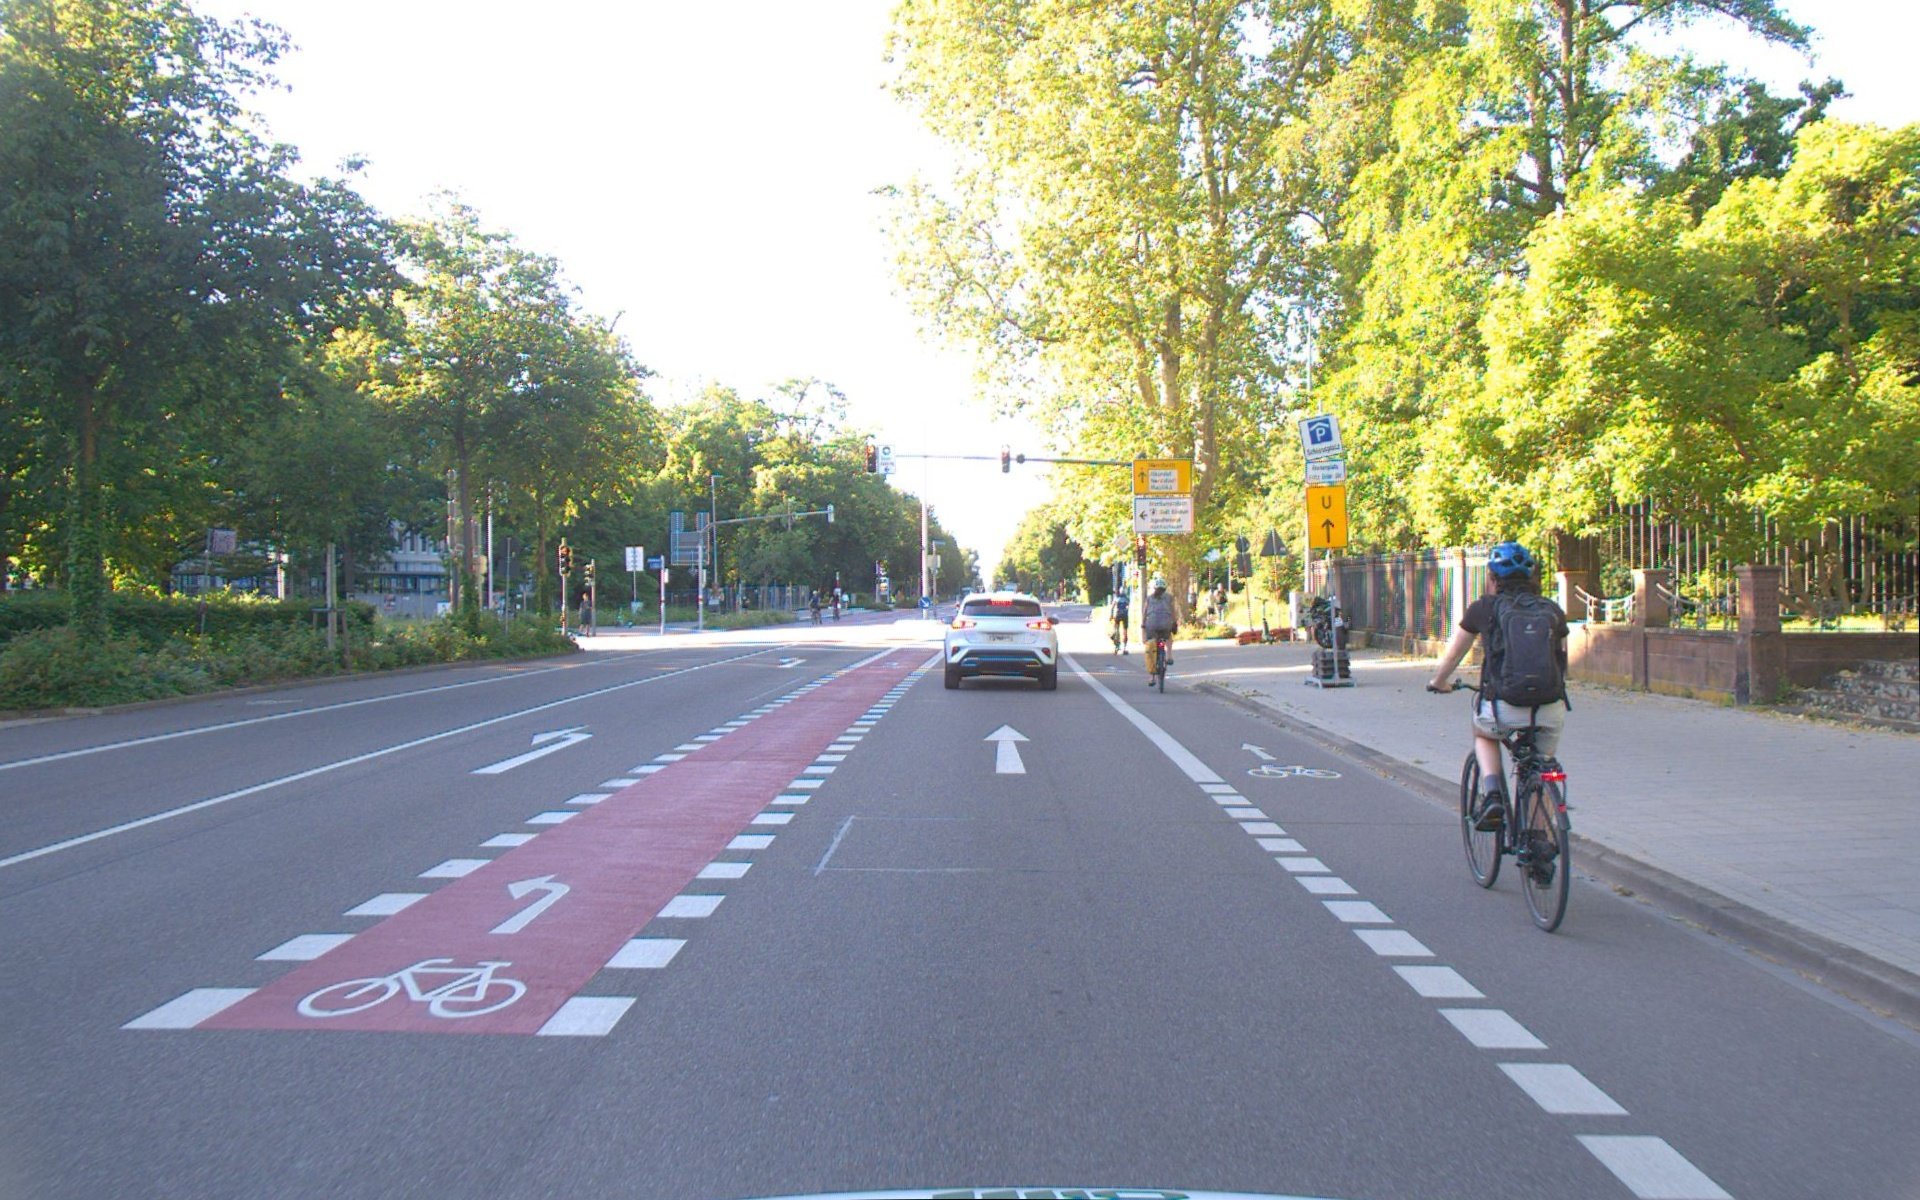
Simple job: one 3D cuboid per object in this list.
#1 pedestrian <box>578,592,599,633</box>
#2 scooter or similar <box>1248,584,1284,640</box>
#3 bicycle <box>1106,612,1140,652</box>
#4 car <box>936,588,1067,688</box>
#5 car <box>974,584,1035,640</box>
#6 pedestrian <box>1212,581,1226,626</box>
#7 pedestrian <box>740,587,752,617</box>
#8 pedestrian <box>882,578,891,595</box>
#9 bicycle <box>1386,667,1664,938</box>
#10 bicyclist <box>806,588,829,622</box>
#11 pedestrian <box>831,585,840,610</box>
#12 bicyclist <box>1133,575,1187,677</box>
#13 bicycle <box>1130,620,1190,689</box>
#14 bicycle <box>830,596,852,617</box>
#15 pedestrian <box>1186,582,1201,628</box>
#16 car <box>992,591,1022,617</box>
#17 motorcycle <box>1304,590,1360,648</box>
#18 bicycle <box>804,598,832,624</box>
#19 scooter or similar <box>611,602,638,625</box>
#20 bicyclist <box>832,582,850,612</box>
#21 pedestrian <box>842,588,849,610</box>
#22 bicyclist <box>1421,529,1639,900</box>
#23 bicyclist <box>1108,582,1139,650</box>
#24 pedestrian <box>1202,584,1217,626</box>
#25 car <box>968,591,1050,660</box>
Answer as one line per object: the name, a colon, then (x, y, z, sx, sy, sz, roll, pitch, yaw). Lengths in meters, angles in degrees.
pedestrian: (-16.940, 0.564, 75.456, 0.673, 1.823, 0.769, -4, 1, 1)
scooter or similar: (7.933, 0.309, 42.904, 0.554, 1.407, 1.856, -2, 0, 0)
bicycle: (4.307, 0.830, 43.809, 0.737, 1.044, 1.869, 0, 0, 1)
car: (0.660, 0.567, 27.271, 1.952, 1.478, 4.000, -2, 0, 1)
car: (1.376, 0.349, 51.956, 1.813, 1.619, 4.000, -2, 0, 1)
pedestrian: (10.842, 0.136, 69.214, 0.472, 1.823, 0.432, -4, 3, 7)
pedestrian: (-13.645, 0.135, 105.502, 0.637, 1.921, 0.663, -2, 0, 3)
pedestrian: (-9.583, -1.769, 216.417, 0.857, 2.187, 1.104, -2, 0, 10)
bicycle: (2.689, 0.907, 8.146, 0.630, 1.042, 2.213, 1, 0, 1)
bicyclist: (-7.616, 0.239, 88.554, 1.069, 1.785, 1.098, -2, 0, 3)
pedestrian: (-10.033, -0.198, 133.143, 0.643, 2.049, 0.832, -2, 0, -1)
bicyclist: (3.133, 0.402, 26.005, 0.732, 1.564, 0.969, 0, 0, 1)
bicycle: (3.140, 0.838, 26.073, 0.737, 1.044, 1.869, 0, 0, 1)
bicycle: (-7.066, 0.379, 98.393, 0.944, 1.201, 2.952, -2, 0, 3)
pedestrian: (9.673, 0.197, 68.496, 0.472, 1.823, 0.432, -4, 3, 7)
car: (3.087, 0.239, 108.857, 1.700, 1.573, 4.003, -1, 1, 5)
motorcycle: (8.108, 0.390, 36.124, 0.648, 1.188, 2.327, -3, 0, 1)
bicycle: (-7.601, 0.576, 88.493, 1.079, 1.277, 2.780, -2, 0, 3)
scooter or similar: (-17.142, 0.682, 84.567, 0.500, 1.164, 1.700, -2, 0, 22)
bicyclist: (-7.084, -0.187, 98.461, 0.936, 1.735, 1.233, -2, 0, 2)
pedestrian: (-9.460, -0.087, 136.836, 0.509, 1.735, 0.528, -2, 0, -3)
bicyclist: (2.702, 0.502, 7.967, 0.623, 1.642, 1.284, 0, 0, 1)
bicyclist: (4.304, 0.411, 43.666, 0.734, 1.780, 0.843, 0, 0, 0)
pedestrian: (10.359, 0.213, 68.678, 0.472, 1.668, 0.432, -4, 3, 7)
car: (1.170, 0.583, 40.680, 1.889, 1.560, 4.000, -2, 0, 1)
